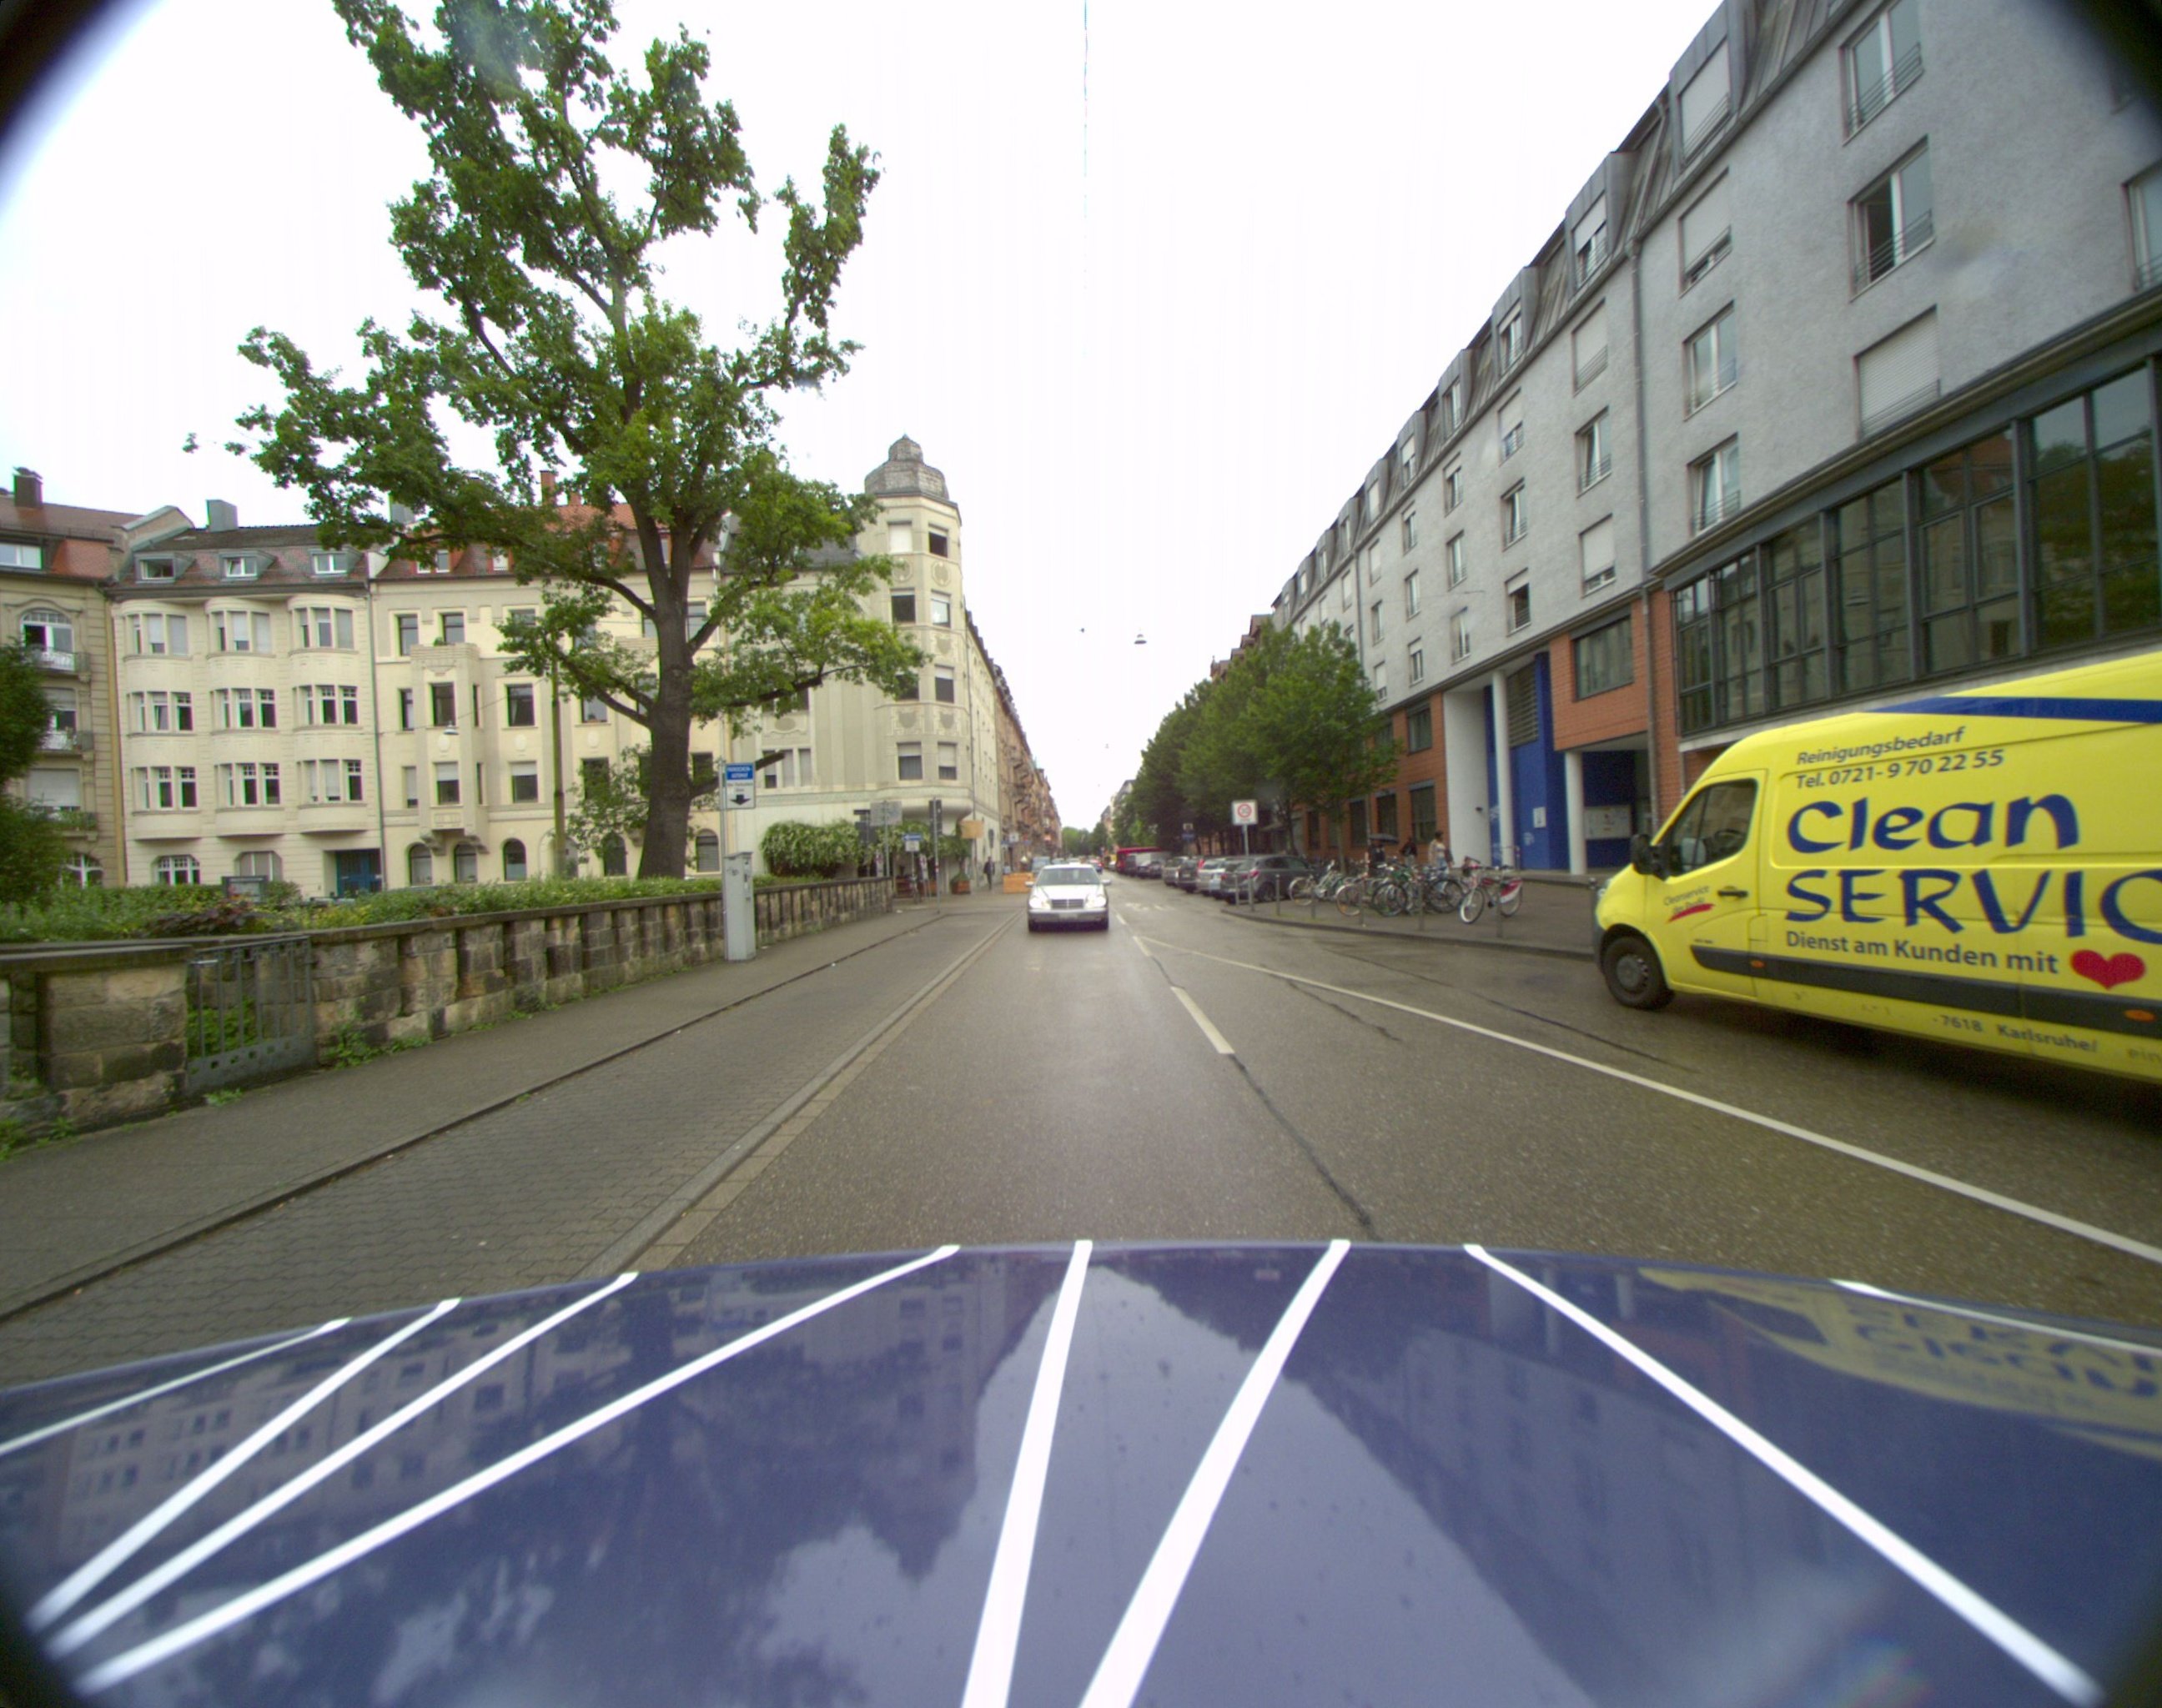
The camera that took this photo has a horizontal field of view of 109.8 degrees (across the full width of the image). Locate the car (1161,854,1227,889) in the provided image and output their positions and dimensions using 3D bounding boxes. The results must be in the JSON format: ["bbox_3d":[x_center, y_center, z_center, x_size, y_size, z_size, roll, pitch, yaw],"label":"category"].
[{"bbox_3d":[5.709,0.873,38.230,2.985,1.546,1.370,-3,0,-28],"label":"car"}]

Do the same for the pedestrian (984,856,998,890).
[{"bbox_3d":[-5.082,1.049,42.755,0.646,1.862,0.693,-1,0,0],"label":"pedestrian"}]

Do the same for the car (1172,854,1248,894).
[{"bbox_3d":[5.530,0.845,32.491,3.084,1.543,1.449,-3,0,-40],"label":"car"}]

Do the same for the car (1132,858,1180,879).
[{"bbox_3d":[5.742,1.063,57.942,1.685,1.481,3.799,-1,0,41],"label":"car"}]

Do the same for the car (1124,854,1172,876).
[{"bbox_3d":[5.818,0.919,65.688,4.338,1.822,1.571,-1,0,-40],"label":"car"}]

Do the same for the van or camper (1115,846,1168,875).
[{"bbox_3d":[5.718,0.585,71.629,4.603,2.597,2.000,-1,0,-26],"label":"van or camper"}]

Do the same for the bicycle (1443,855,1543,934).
[{"bbox_3d":[7.613,0.711,13.999,1.922,1.209,0.768,-6,3,-34],"label":"bicycle"}]

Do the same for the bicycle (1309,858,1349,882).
[{"bbox_3d":[10.770,0.690,33.068,1.590,0.978,0.445,-2,0,-7],"label":"bicycle"}]

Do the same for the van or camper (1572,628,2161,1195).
[{"bbox_3d":[6.030,0.251,4.572,2.201,2.595,5.942,-1,0,-1],"label":"van or camper"}]

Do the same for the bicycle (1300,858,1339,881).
[{"bbox_3d":[10.731,0.682,34.192,1.590,0.978,0.445,-2,0,-7],"label":"bicycle"}]

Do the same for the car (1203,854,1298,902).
[{"bbox_3d":[6.026,0.836,26.991,3.083,1.494,1.449,-3,0,-31],"label":"car"}]

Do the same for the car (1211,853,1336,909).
[{"bbox_3d":[6.120,0.805,24.063,3.628,1.494,1.736,-3,1,-31],"label":"car"}]

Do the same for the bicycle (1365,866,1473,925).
[{"bbox_3d":[6.822,0.838,15.407,1.858,1.066,0.609,-3,1,6],"label":"bicycle"}]

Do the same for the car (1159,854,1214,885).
[{"bbox_3d":[5.707,0.832,40.988,2.685,1.546,1.148,-3,0,-28],"label":"car"}]

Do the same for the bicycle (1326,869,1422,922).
[{"bbox_3d":[6.252,0.881,16.250,1.800,0.987,0.520,-4,1,-2],"label":"bicycle"}]

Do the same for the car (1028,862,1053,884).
[{"bbox_3d":[-2.727,1.264,51.692,1.447,1.348,3.204,-1,0,0],"label":"car"}]

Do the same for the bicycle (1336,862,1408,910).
[{"bbox_3d":[7.435,0.807,19.438,1.610,1.099,0.520,-4,1,-4],"label":"bicycle"}]

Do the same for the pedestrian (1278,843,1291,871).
[{"bbox_3d":[12.151,0.175,45.447,0.605,1.601,0.372,-2,0,-1],"label":"pedestrian"}]

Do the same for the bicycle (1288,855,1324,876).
[{"bbox_3d":[10.891,0.544,36.768,1.590,0.978,0.465,-2,0,-7],"label":"bicycle"}]

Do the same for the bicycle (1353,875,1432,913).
[{"bbox_3d":[7.423,0.943,18.131,1.773,0.757,0.456,-4,1,-13],"label":"bicycle"}]

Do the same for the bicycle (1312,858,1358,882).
[{"bbox_3d":[10.893,0.689,32.593,1.850,0.978,0.445,-2,0,-7],"label":"bicycle"}]

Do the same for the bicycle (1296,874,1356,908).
[{"bbox_3d":[6.735,1.011,20.915,1.473,0.800,0.497,-4,1,3],"label":"bicycle"}]

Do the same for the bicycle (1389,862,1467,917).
[{"bbox_3d":[7.599,0.777,16.677,1.461,1.096,0.462,-3,1,15],"label":"bicycle"}]

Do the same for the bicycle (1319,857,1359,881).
[{"bbox_3d":[11.399,0.669,33.606,1.590,0.978,0.445,-2,0,-7],"label":"bicycle"}]

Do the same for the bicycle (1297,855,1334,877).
[{"bbox_3d":[10.996,0.549,35.602,1.590,0.978,0.445,-2,0,-7],"label":"bicycle"}]

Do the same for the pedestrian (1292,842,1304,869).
[{"bbox_3d":[12.937,0.072,45.332,0.514,1.601,0.425,-2,0,1],"label":"pedestrian"}]

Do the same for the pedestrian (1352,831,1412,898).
[{"bbox_3d":[9.245,0.318,23.378,1.228,1.870,1.055,-6,0,0],"label":"pedestrian"}]

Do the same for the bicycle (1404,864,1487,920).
[{"bbox_3d":[7.622,0.795,15.904,1.462,1.058,0.418,-3,1,4],"label":"bicycle"}]

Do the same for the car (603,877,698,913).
[{"bbox_3d":[-18.480,1.753,32.684,3.270,1.401,1.448,-1,0,3],"label":"car"}]

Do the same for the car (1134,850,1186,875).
[{"bbox_3d":[6.521,0.691,62.310,4.338,1.884,1.685,-1,0,-40],"label":"car"}]

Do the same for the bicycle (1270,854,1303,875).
[{"bbox_3d":[10.561,0.539,39.047,1.590,0.978,0.465,-2,0,-7],"label":"bicycle"}]

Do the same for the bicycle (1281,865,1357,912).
[{"bbox_3d":[6.234,0.890,19.935,1.812,1.099,0.472,-4,1,-4],"label":"bicycle"}]

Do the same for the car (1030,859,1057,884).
[{"bbox_3d":[-2.765,1.276,56.613,1.726,1.794,3.462,-1,0,0],"label":"car"}]

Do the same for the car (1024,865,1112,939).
[{"bbox_3d":[-0.245,1.021,17.767,1.764,1.420,4.000,-2,0,1],"label":"car"}]

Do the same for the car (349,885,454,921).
[{"bbox_3d":[-29.241,2.104,32.740,3.270,1.401,1.448,-1,0,3],"label":"car"}]

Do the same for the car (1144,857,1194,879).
[{"bbox_3d":[6.466,1.005,55.580,1.685,1.481,3.799,-1,0,41],"label":"car"}]

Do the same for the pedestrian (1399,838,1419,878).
[{"bbox_3d":[12.805,0.166,29.658,0.516,1.521,0.548,-1,0,-3],"label":"pedestrian"}]

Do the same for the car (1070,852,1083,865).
[{"bbox_3d":[-0.715,0.757,124.602,1.998,2.002,4.000,-2,0,1],"label":"car"}]

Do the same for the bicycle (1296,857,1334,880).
[{"bbox_3d":[10.781,0.673,34.984,1.590,0.978,0.445,-2,0,-7],"label":"bicycle"}]

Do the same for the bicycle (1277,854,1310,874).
[{"bbox_3d":[11.155,0.515,39.937,1.590,0.978,0.465,-2,0,-7],"label":"bicycle"}]

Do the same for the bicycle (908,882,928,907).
[{"bbox_3d":[-7.012,1.718,32.807,0.390,0.888,2.023,-2,2,0],"label":"bicycle"}]

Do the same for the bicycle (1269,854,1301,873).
[{"bbox_3d":[11.017,0.508,41.073,1.590,0.978,0.465,-2,0,-7],"label":"bicycle"}]

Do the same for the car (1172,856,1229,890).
[{"bbox_3d":[5.635,0.871,35.723,2.506,1.442,1.191,-3,0,-40],"label":"car"}]

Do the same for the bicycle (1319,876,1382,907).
[{"bbox_3d":[7.208,0.998,20.376,1.473,0.717,0.497,-4,1,3],"label":"bicycle"}]

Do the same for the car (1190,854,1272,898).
[{"bbox_3d":[5.862,0.857,29.602,3.084,1.494,1.449,-3,0,-40],"label":"car"}]

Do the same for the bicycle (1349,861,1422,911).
[{"bbox_3d":[7.524,0.780,18.786,1.611,1.099,0.519,-4,1,-13],"label":"bicycle"}]

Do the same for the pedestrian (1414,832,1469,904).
[{"bbox_3d":[9.195,0.352,19.428,0.827,1.697,0.859,-6,0,1],"label":"pedestrian"}]

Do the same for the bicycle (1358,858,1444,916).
[{"bbox_3d":[7.391,0.746,17.540,1.815,1.187,0.519,-4,1,-13],"label":"bicycle"}]

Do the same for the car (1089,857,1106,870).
[{"bbox_3d":[1.803,1.050,84.810,1.651,1.301,3.311,-1,0,-2],"label":"car"}]

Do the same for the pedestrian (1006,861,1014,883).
[{"bbox_3d":[-4.850,1.222,51.691,0.482,1.452,0.392,-1,0,0],"label":"pedestrian"}]

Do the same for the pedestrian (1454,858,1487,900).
[{"bbox_3d":[10.078,0.637,19.675,0.485,1.044,0.528,-6,0,-1],"label":"pedestrian"}]
